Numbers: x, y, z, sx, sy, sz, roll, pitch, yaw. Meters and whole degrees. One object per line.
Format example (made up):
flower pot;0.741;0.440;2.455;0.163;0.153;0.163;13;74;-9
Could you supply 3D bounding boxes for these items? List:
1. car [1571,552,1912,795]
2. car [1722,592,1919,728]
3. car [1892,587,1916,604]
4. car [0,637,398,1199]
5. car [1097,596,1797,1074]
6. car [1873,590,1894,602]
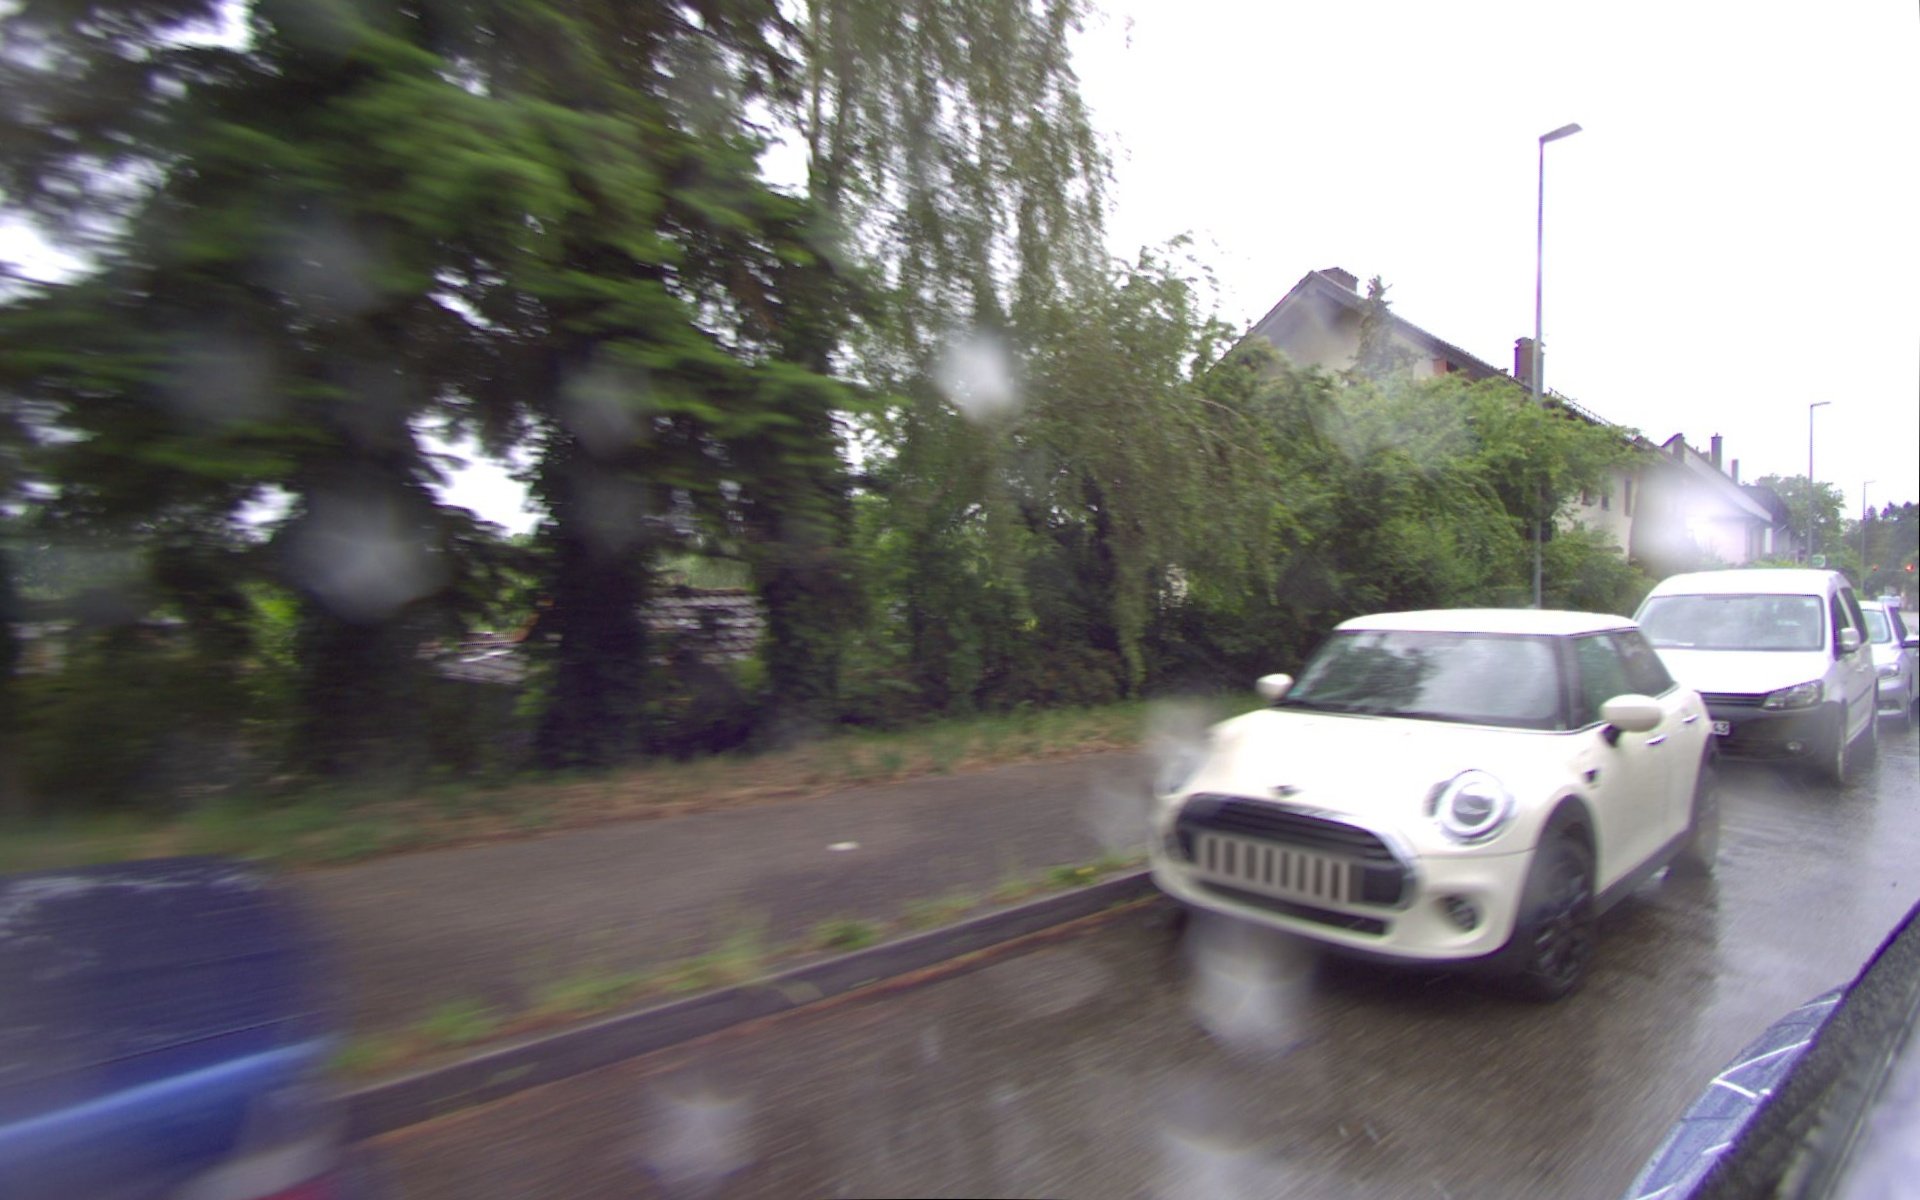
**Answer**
car;7.571;0.523;9.645;4.285;1.813;1.787;0;1;-41
car;11.642;0.649;13.287;4.233;1.478;1.792;0;1;-41
car;149.773;-0.774;160.637;2.075;2.508;4.790;5;3;36
car;-2.807;0.763;0.324;4.370;1.298;1.633;0;1;-41
car;2.700;0.708;5.100;4.130;1.421;1.712;0;1;-41
car;159.649;-0.700;174.978;2.152;1.979;4.852;5;3;36
